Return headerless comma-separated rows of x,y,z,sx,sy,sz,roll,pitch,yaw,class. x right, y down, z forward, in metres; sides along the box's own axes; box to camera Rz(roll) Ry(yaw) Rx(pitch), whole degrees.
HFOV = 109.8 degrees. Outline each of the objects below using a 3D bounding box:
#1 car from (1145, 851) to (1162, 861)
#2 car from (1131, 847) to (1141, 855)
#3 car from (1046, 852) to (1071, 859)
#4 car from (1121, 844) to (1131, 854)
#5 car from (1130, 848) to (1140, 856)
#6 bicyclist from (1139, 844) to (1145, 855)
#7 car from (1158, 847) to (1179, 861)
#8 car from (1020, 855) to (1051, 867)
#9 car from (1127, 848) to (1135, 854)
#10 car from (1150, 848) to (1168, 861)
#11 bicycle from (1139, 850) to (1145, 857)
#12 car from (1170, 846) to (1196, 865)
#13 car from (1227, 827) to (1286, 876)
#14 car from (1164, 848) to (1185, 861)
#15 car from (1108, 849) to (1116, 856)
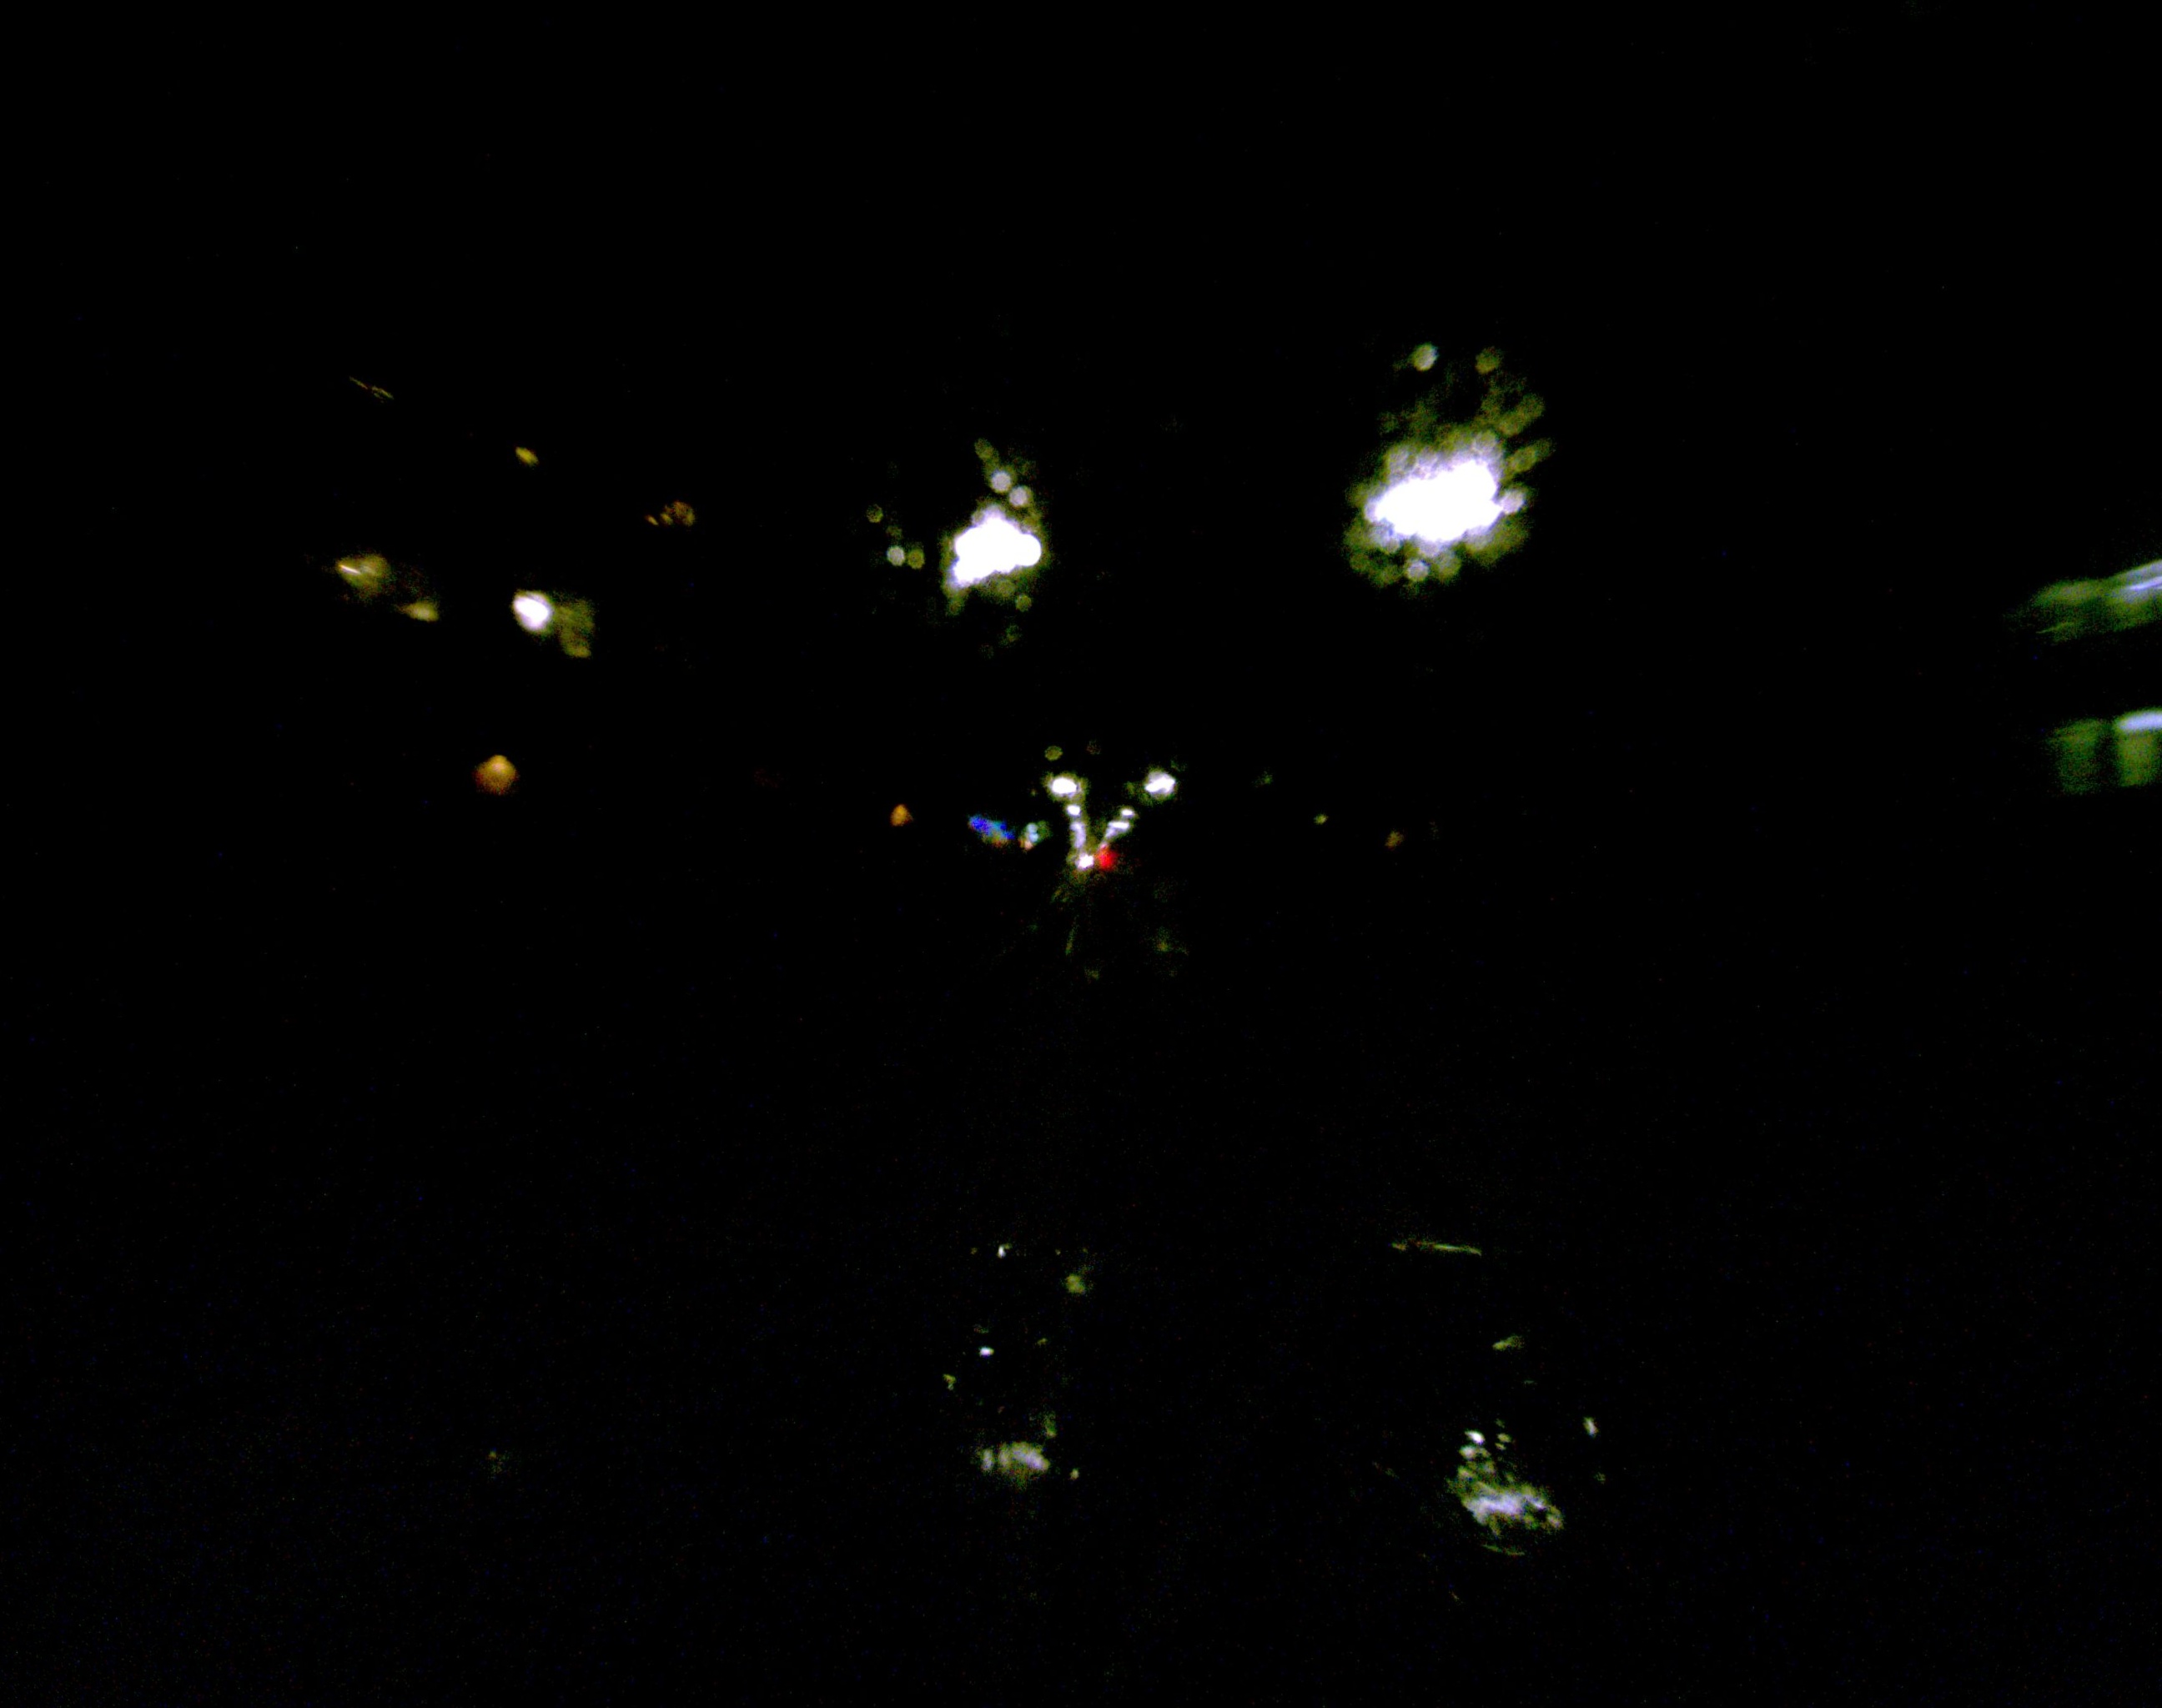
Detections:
11.306,0.235,119.283,1.893,1.454,4.958,-1,1,-4,car
12.305,-0.636,170.540,1.814,1.569,4.353,-5,0,1,car
-4.533,0.300,151.169,4.604,1.467,1.837,-1,1,-19,car
12.660,-1.403,212.988,2.248,2.494,5.258,-4,1,-2,car
11.396,-0.400,159.748,1.735,1.430,4.625,-2,1,1,car
9.115,-0.638,113.489,0.784,1.646,1.206,0,1,1,bicyclist
10.694,-0.013,93.340,1.988,1.622,4.516,-2,1,1,car
-6.754,0.984,112.579,4.110,1.528,1.956,-3,1,-24,car
11.781,-0.691,179.396,1.723,1.447,3.950,-2,1,0,car
10.928,0.079,106.978,1.885,1.536,4.398,-5,1,-2,car
9.113,-0.103,113.505,0.784,1.076,1.918,0,1,1,bicycle
10.009,0.090,74.896,1.974,1.646,4.601,-4,1,2,car
10.050,-0.134,43.986,2.190,2.576,6.393,-2,0,3,car
10.540,0.093,85.906,1.695,1.413,3.913,-1,0,-2,car
7.517,-0.351,182.882,1.780,1.509,4.051,-2,0,1,car
